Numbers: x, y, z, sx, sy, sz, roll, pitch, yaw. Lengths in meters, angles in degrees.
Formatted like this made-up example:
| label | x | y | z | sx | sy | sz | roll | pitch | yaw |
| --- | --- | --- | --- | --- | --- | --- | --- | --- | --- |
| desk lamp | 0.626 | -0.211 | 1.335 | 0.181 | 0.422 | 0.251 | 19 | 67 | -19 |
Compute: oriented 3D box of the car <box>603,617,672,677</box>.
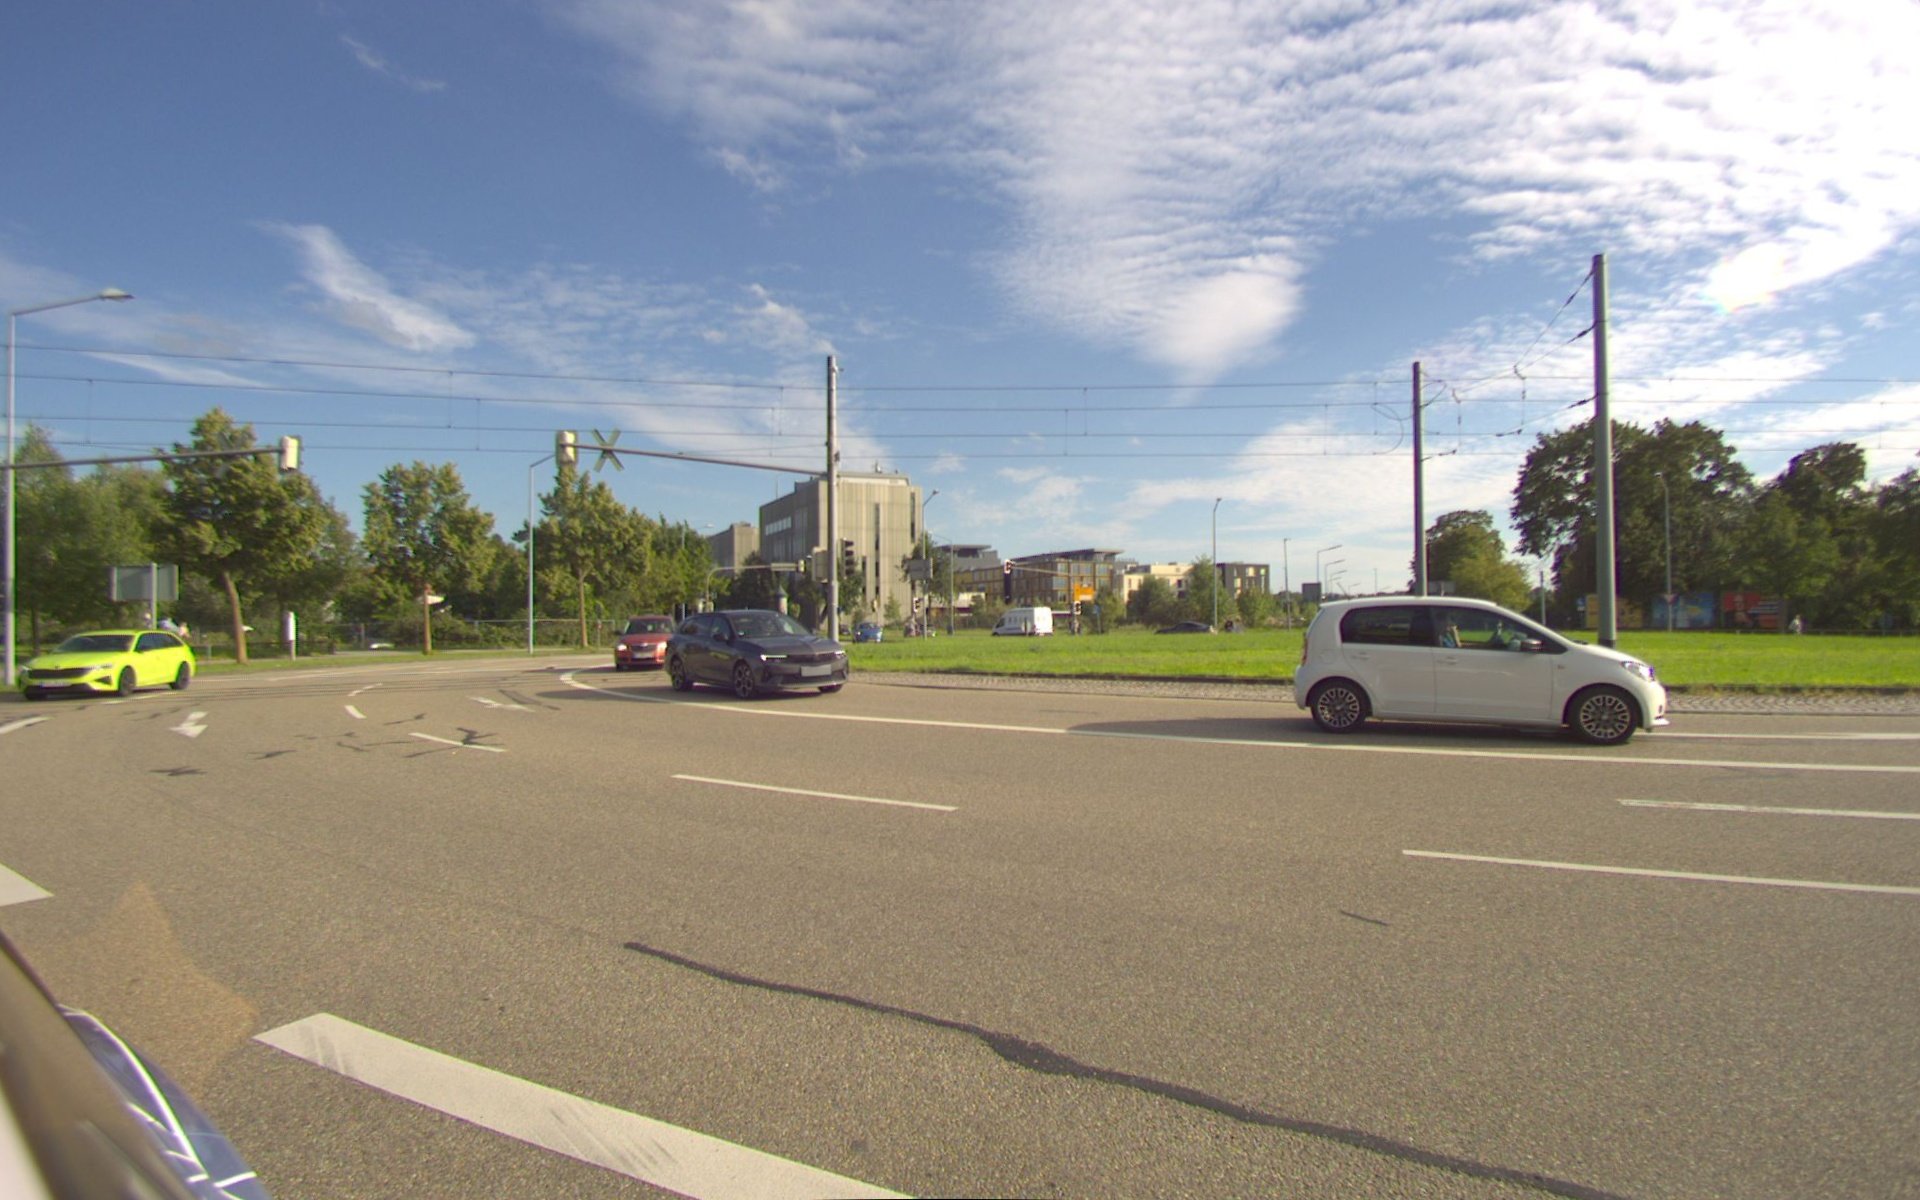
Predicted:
| label | x | y | z | sx | sy | sz | roll | pitch | yaw |
| --- | --- | --- | --- | --- | --- | --- | --- | --- | --- |
| car | -8.908 | 1.290 | 28.182 | 1.666 | 1.486 | 4.239 | -2 | -2 | -16 |

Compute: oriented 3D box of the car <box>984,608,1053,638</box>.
| label | x | y | z | sx | sy | sz | roll | pitch | yaw |
| --- | --- | --- | --- | --- | --- | --- | --- | --- | --- |
| car | 4.663 | 1.893 | 81.464 | 2.032 | 2.281 | 6.036 | 3 | -4 | -38 |

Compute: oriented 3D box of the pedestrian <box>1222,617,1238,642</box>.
| label | x | y | z | sx | sy | sz | roll | pitch | yaw |
| --- | --- | --- | --- | --- | --- | --- | --- | --- | --- |
| pedestrian | 21.642 | 2.375 | 81.169 | 0.884 | 1.930 | 0.867 | -3 | -1 | -3 |

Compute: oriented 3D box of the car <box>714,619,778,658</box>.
| label | x | y | z | sx | sy | sz | roll | pitch | yaw |
| --- | --- | --- | --- | --- | --- | --- | --- | --- | --- |
| car | -8.743 | 1.568 | 41.622 | 1.672 | 1.486 | 4.224 | -1 | -2 | 1 |

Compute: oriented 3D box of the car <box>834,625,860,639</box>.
| label | x | y | z | sx | sy | sz | roll | pitch | yaw |
| --- | --- | --- | --- | --- | --- | --- | --- | --- | --- |
| car | -12.936 | 3.688 | 116.066 | 1.656 | 1.513 | 4.007 | 0 | -1 | -26 |

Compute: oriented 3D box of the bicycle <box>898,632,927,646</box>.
| label | x | y | z | sx | sy | sz | roll | pitch | yaw |
| --- | --- | --- | --- | --- | --- | --- | --- | --- | --- |
| bicycle | -3.602 | 2.978 | 76.492 | 1.927 | 1.015 | 1.005 | 0 | -2 | -21 |

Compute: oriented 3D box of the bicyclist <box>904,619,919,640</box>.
| label | x | y | z | sx | sy | sz | roll | pitch | yaw |
| --- | --- | --- | --- | --- | --- | --- | --- | --- | --- |
| bicyclist | -3.681 | 2.252 | 76.503 | 0.851 | 1.568 | 1.001 | 0 | -2 | -21 |

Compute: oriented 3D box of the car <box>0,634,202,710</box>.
| label | x | y | z | sx | sy | sz | roll | pitch | yaw |
| --- | --- | --- | --- | --- | --- | --- | --- | --- | --- |
| car | -19.033 | 1.512 | 22.588 | 1.865 | 1.431 | 4.621 | -2 | -1 | -16 |

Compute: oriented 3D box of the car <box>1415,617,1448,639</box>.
| label | x | y | z | sx | sy | sz | roll | pitch | yaw |
| --- | --- | --- | --- | --- | --- | --- | --- | --- | --- |
| car | 34.621 | 2.033 | 74.220 | 1.886 | 1.588 | 4.380 | -1 | -1 | 29 |

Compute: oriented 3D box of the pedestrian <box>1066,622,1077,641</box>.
| label | x | y | z | sx | sy | sz | roll | pitch | yaw |
| --- | --- | --- | --- | --- | --- | --- | --- | --- | --- |
| pedestrian | 9.763 | 2.789 | 88.837 | 0.618 | 1.642 | 0.660 | -2 | -2 | -23 |

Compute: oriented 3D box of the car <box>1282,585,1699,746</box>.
| label | x | y | z | sx | sy | sz | roll | pitch | yaw |
| --- | --- | --- | --- | --- | --- | --- | --- | --- | --- |
| car | 5.494 | 0.634 | 10.857 | 3.642 | 1.475 | 1.751 | -2 | 0 | 27 |

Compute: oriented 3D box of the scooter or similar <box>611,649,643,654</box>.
| label | x | y | z | sx | sy | sz | roll | pitch | yaw |
| --- | --- | --- | --- | --- | --- | --- | --- | --- | --- |
| scooter or similar | -21.922 | 3.390 | 66.601 | 1.292 | 0.283 | 1.532 | -2 | -2 | 40 |

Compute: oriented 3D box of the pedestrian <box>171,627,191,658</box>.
| label | x | y | z | sx | sy | sz | roll | pitch | yaw |
| --- | --- | --- | --- | --- | --- | --- | --- | --- | --- |
| pedestrian | -43.597 | 2.365 | 56.619 | 0.589 | 1.745 | 0.667 | -1 | -1 | 2 |

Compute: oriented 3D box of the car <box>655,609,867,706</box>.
| label | x | y | z | sx | sy | sz | roll | pitch | yaw |
| --- | --- | --- | --- | --- | --- | --- | --- | --- | --- |
| car | -3.597 | 0.950 | 17.614 | 1.795 | 1.431 | 4.456 | -1 | -1 | -38 |

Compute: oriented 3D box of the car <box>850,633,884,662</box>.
| label | x | y | z | sx | sy | sz | roll | pitch | yaw |
| --- | --- | --- | --- | --- | --- | --- | --- | --- | --- |
| car | -5.933 | 2.982 | 64.343 | 1.969 | 1.674 | 4.810 | -1 | -1 | -7 |

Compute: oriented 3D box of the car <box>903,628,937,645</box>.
| label | x | y | z | sx | sy | sz | roll | pitch | yaw |
| --- | --- | --- | --- | --- | --- | --- | --- | --- | --- |
| car | -3.831 | 3.501 | 97.070 | 1.656 | 1.513 | 4.006 | 2 | -3 | -28 |

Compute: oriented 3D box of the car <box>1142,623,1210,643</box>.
| label | x | y | z | sx | sy | sz | roll | pitch | yaw |
| --- | --- | --- | --- | --- | --- | --- | --- | --- | --- |
| car | 14.019 | 2.151 | 65.757 | 3.992 | 1.275 | 1.663 | -2 | -4 | 41 |

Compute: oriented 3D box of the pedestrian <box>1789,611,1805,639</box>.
| label | x | y | z | sx | sy | sz | roll | pitch | yaw |
| --- | --- | --- | --- | --- | --- | --- | --- | --- | --- |
| pedestrian | 50.989 | 1.526 | 61.634 | 0.543 | 1.637 | 0.503 | -1 | -2 | 14 |
